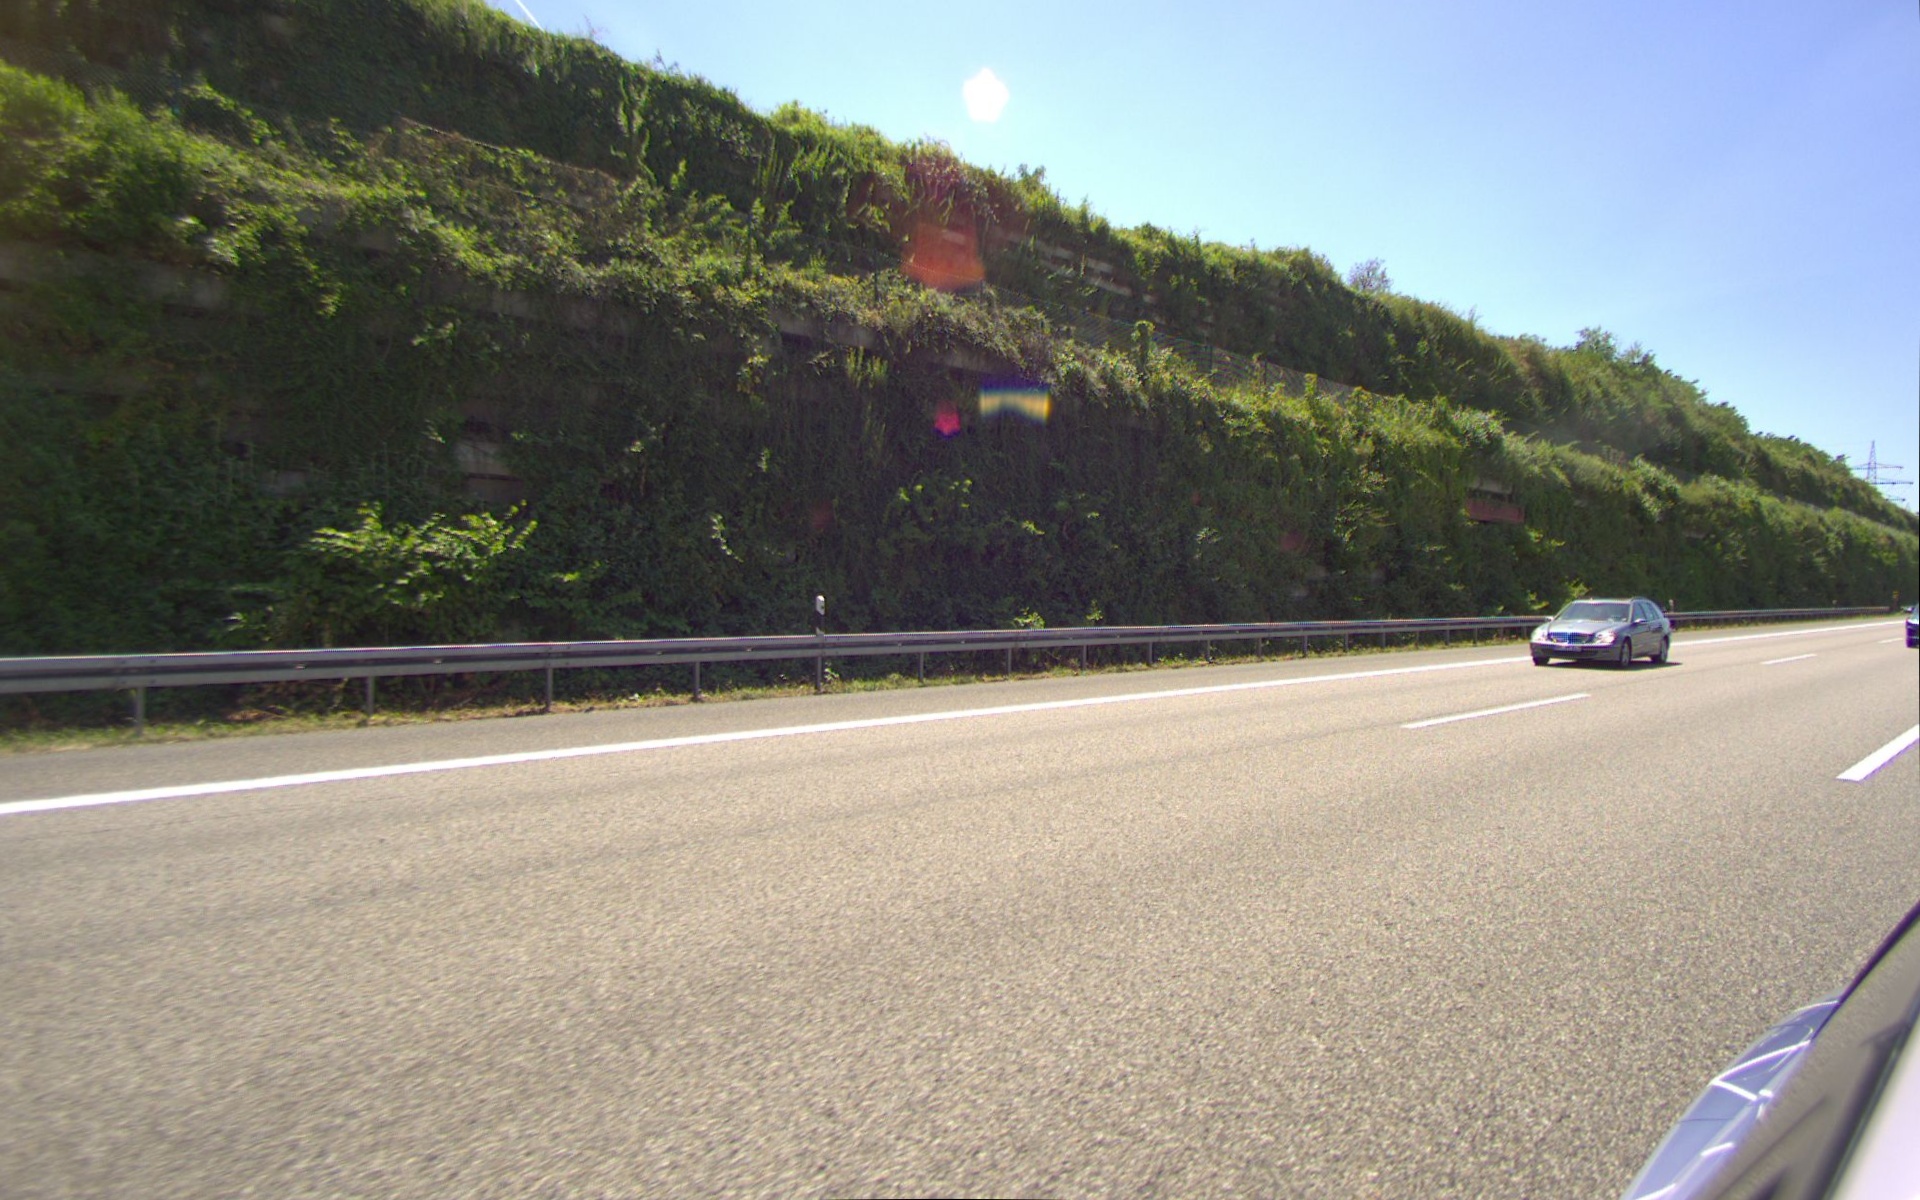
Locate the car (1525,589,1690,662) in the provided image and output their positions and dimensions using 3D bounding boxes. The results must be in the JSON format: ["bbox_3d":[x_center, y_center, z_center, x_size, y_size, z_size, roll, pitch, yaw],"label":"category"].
[{"bbox_3d":[14.095,0.481,21.930,4.479,1.429,1.838,0,0,-41],"label":"car"}]

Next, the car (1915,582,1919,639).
[{"bbox_3d":[30.940,0.327,31.036,4.479,1.701,1.983,0,1,-41],"label":"car"}]
